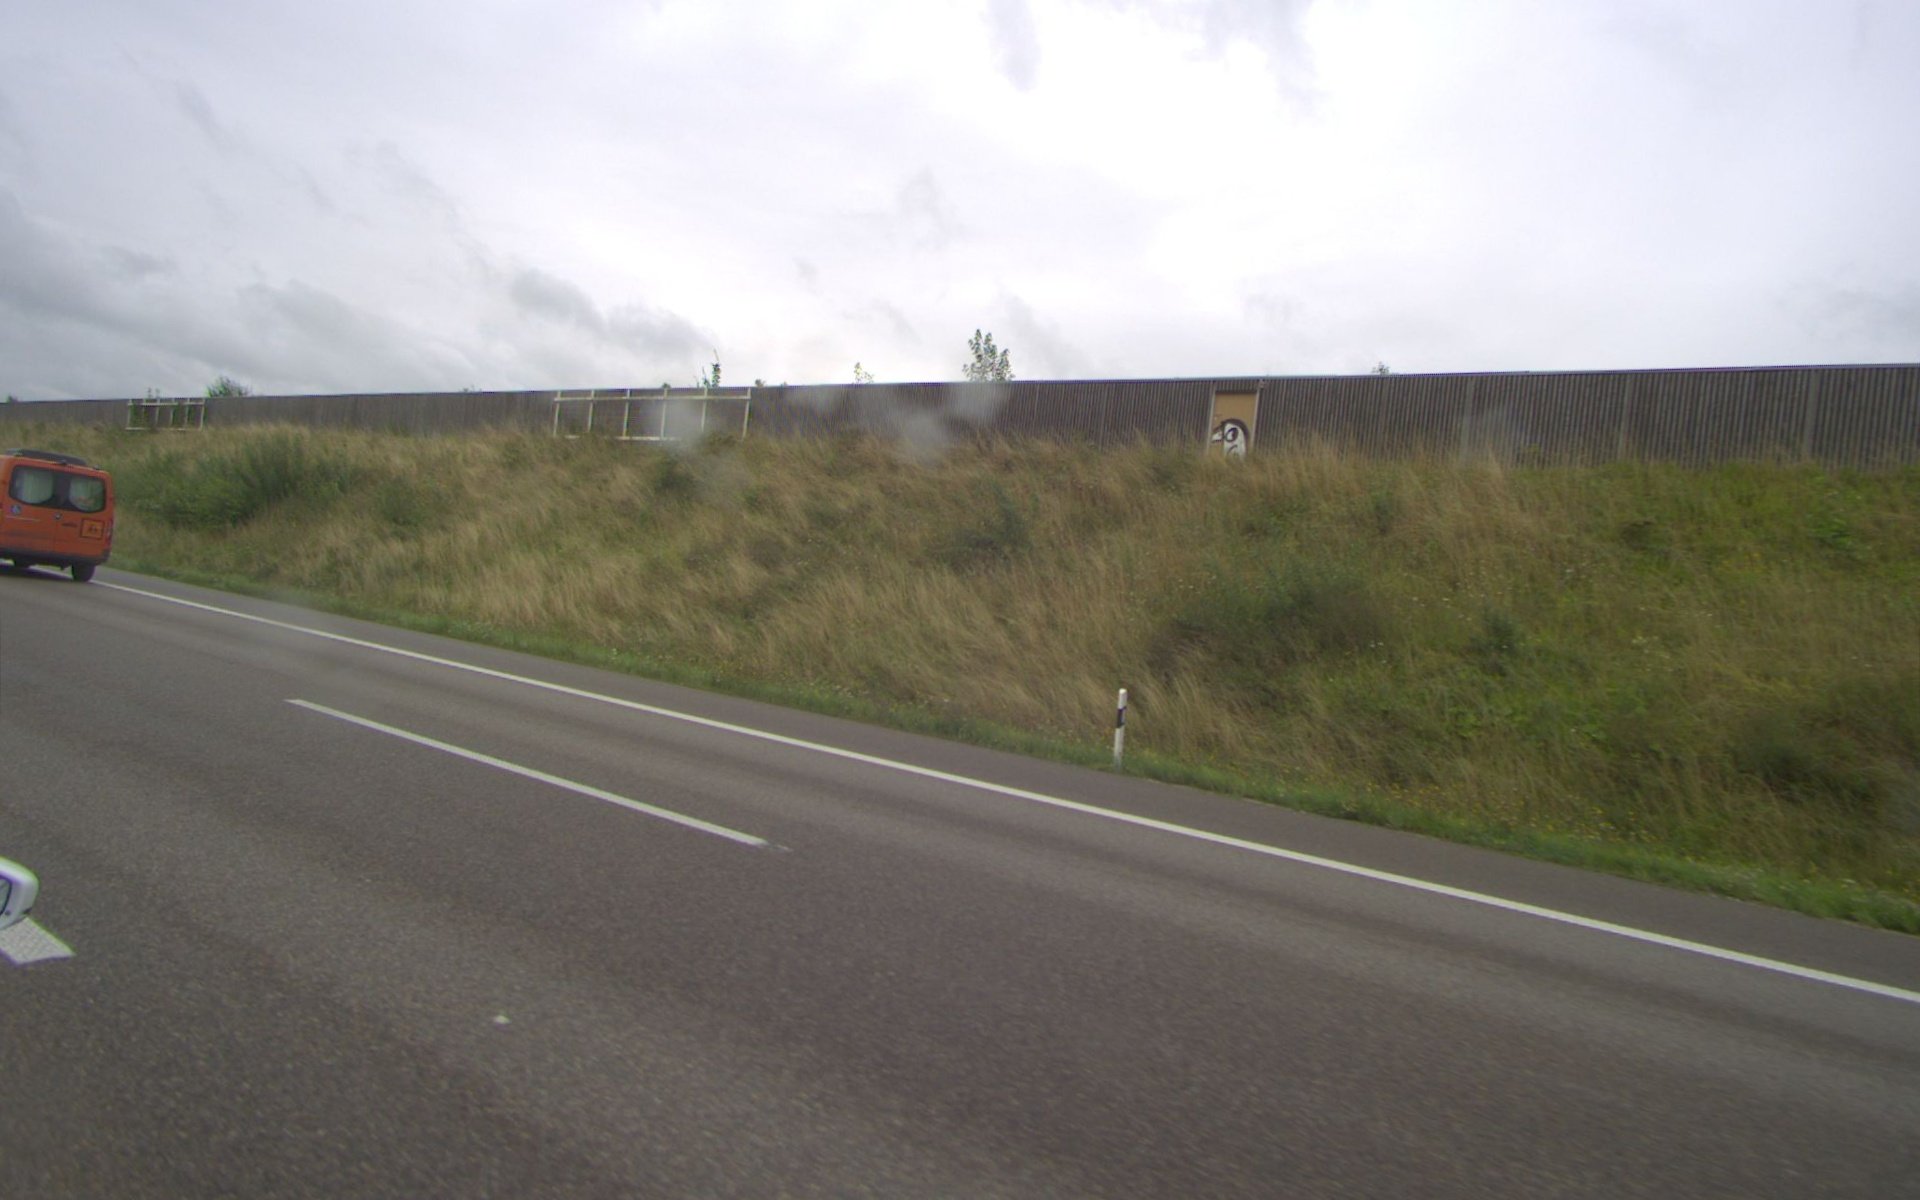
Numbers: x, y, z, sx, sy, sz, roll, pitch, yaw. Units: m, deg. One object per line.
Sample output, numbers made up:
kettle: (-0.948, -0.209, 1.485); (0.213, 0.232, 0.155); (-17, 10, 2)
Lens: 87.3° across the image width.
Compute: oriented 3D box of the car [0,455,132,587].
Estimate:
car: (-20.543, -1.836, 21.677); (6.077, 2.343, 2.089); (7, 0, 31)
